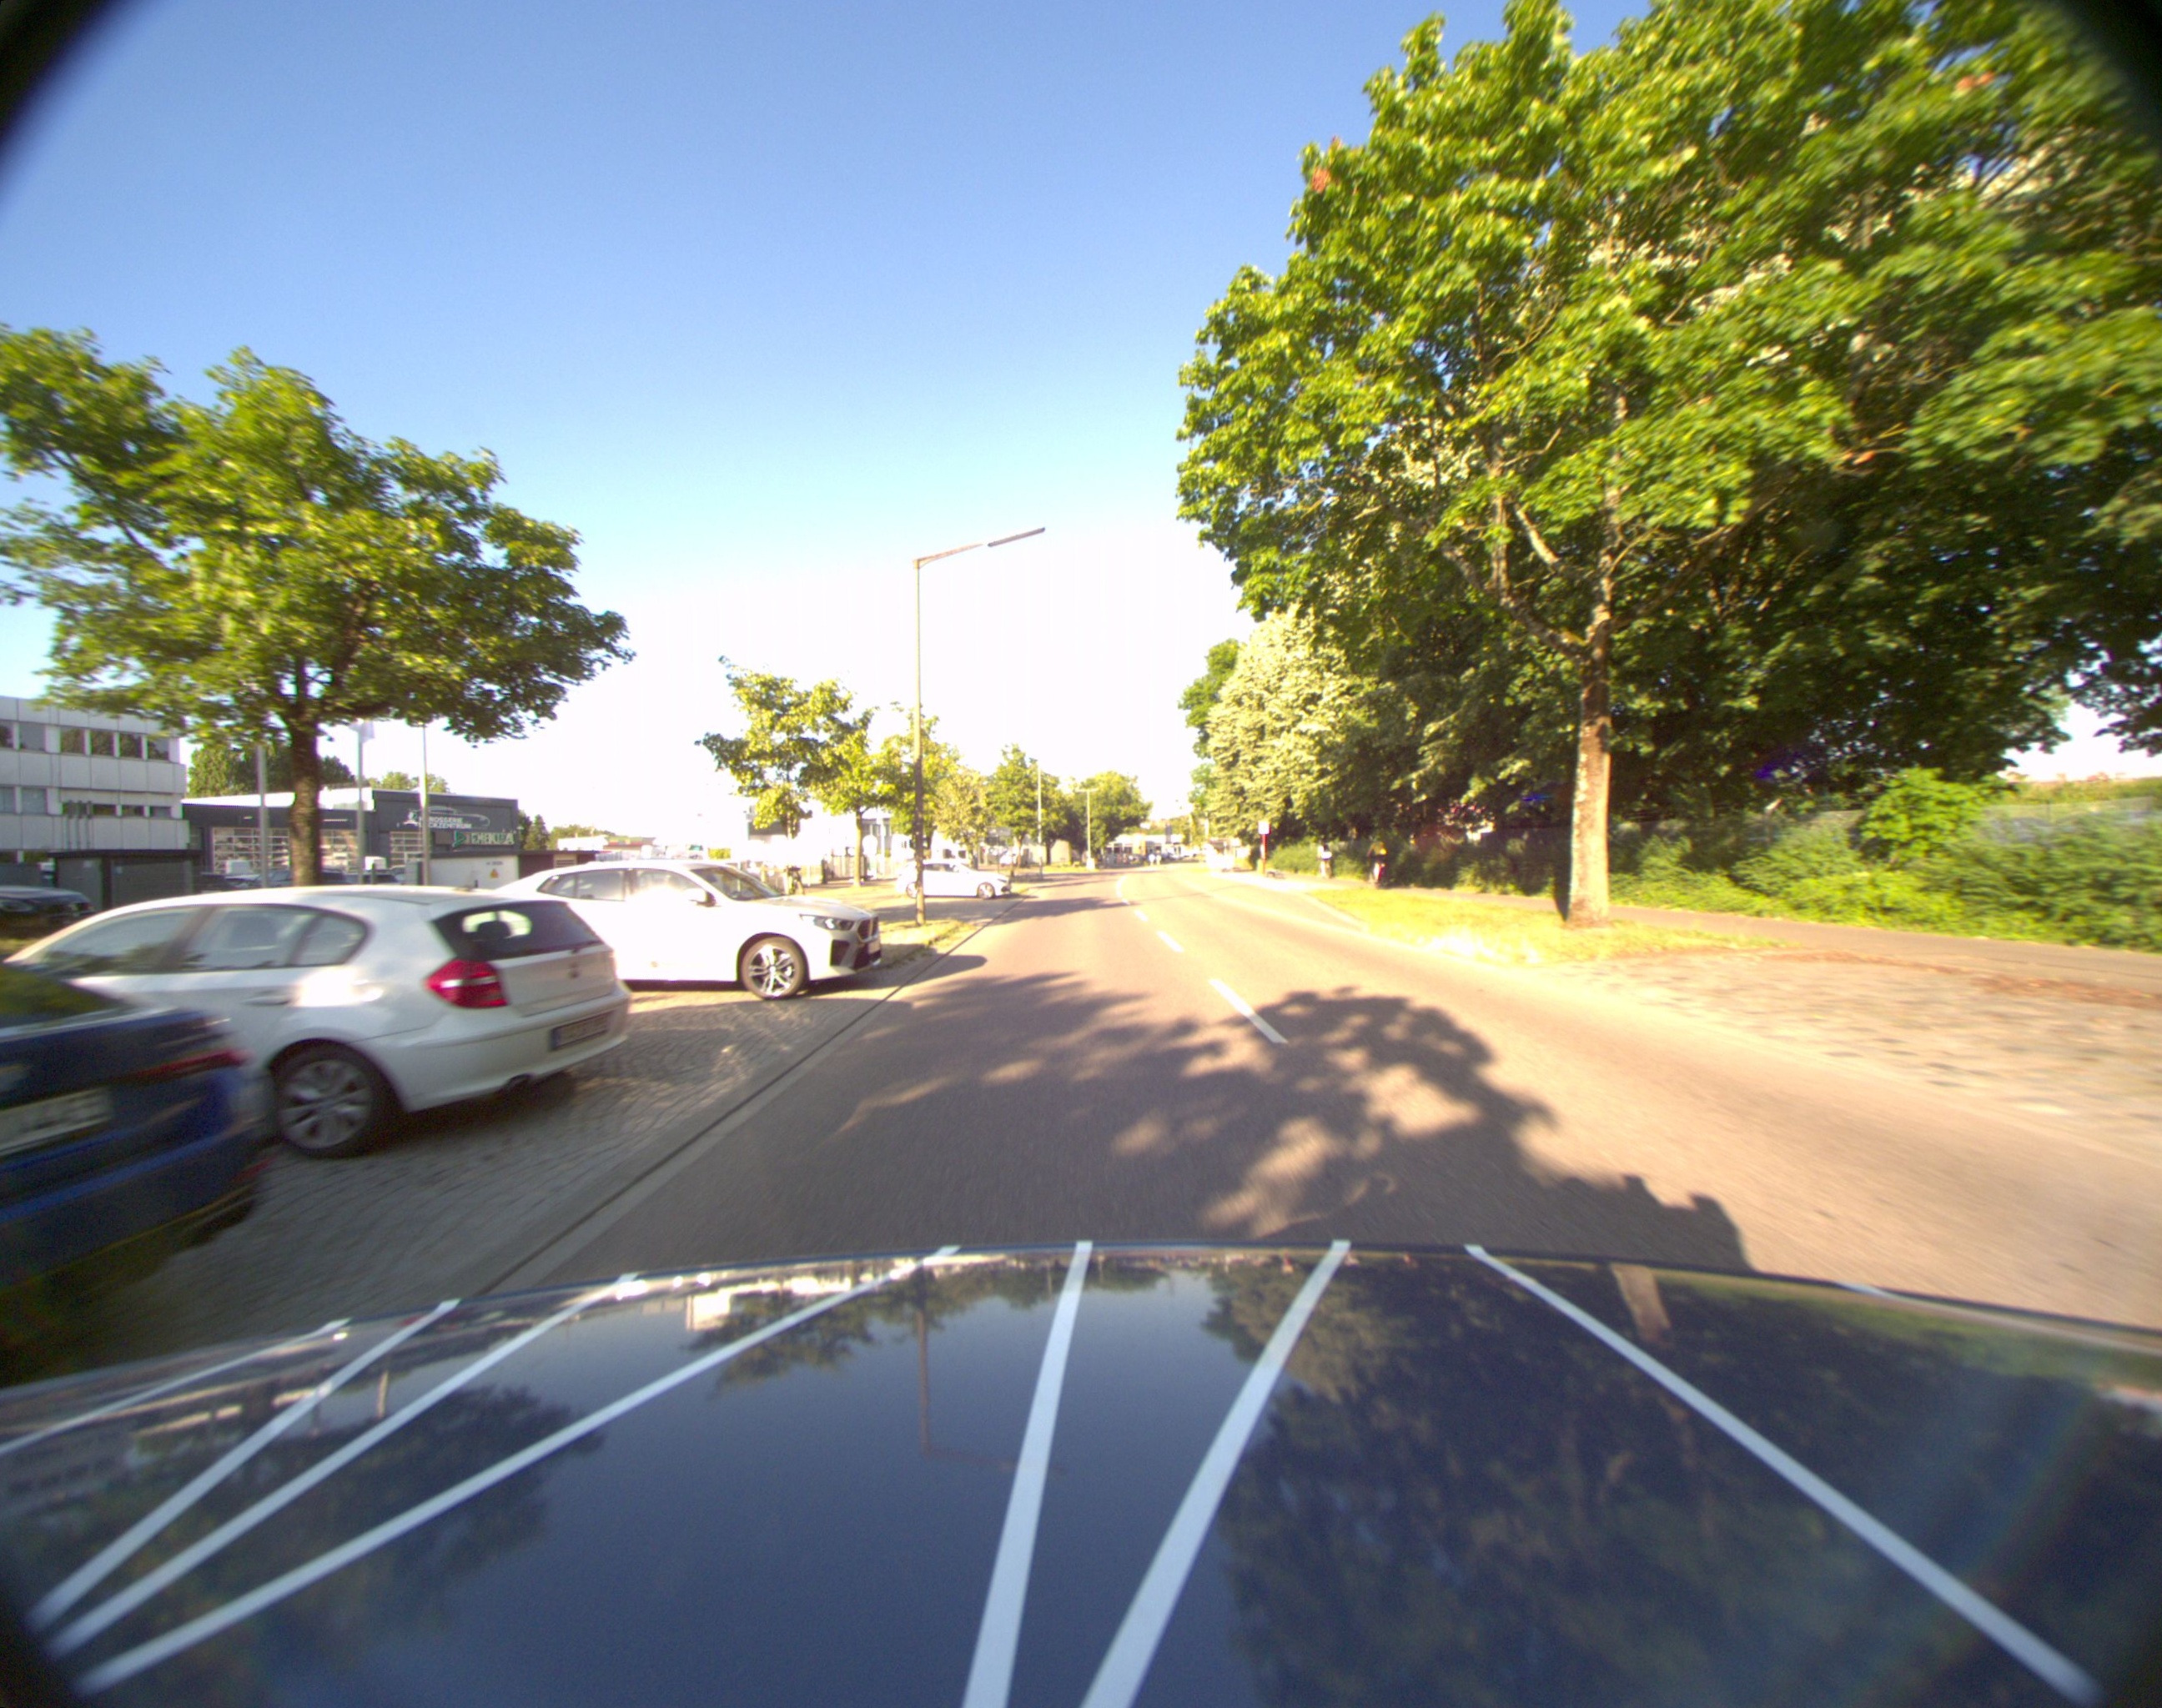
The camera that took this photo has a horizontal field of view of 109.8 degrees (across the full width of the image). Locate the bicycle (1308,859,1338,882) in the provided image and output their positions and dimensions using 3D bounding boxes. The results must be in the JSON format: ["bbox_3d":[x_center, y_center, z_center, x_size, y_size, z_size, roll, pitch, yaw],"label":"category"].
[{"bbox_3d":[11.809,0.787,37.168,0.767,1.033,2.217,-1,0,1],"label":"bicycle"}]

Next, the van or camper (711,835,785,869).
[{"bbox_3d":[-34.397,-0.157,78.413,8.117,3.309,2.419,-1,1,28],"label":"van or camper"}]

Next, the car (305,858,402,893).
[{"bbox_3d":[-38.779,1.132,40.513,3.992,1.731,2.002,-1,0,17],"label":"car"}]

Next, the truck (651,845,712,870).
[{"bbox_3d":[-54.081,0.397,103.072,1.994,3.331,7.128,0,0,33],"label":"truck"}]

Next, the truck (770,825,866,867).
[{"bbox_3d":[-24.759,-0.679,71.158,10.090,3.623,3.302,-1,0,36],"label":"truck"}]

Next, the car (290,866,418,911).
[{"bbox_3d":[-28.631,1.338,29.948,3.991,1.570,2.002,-1,3,20],"label":"car"}]

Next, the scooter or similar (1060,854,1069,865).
[{"bbox_3d":[-1.890,0.599,85.959,0.547,1.189,1.483,0,0,15],"label":"scooter or similar"}]

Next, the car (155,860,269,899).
[{"bbox_3d":[-40.610,1.174,35.531,3.992,1.731,2.002,-1,0,17],"label":"car"}]

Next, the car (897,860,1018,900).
[{"bbox_3d":[-4.668,0.953,29.190,4.207,1.435,2.089,0,0,4],"label":"car"}]

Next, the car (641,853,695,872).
[{"bbox_3d":[-47.089,0.947,86.760,1.995,2.001,5.061,-4,-1,31],"label":"car"}]

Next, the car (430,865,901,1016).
[{"bbox_3d":[-4.727,0.947,9.208,4.602,1.575,2.000,0,0,0],"label":"car"}]

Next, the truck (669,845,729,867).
[{"bbox_3d":[-51.185,0.266,102.070,1.994,2.889,7.128,0,0,33],"label":"truck"}]

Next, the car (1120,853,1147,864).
[{"bbox_3d":[9.988,0.927,144.968,4.833,2.002,2.305,-1,0,41],"label":"car"}]

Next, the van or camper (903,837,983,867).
[{"bbox_3d":[-13.971,-0.199,76.597,7.989,2.883,2.948,-1,0,32],"label":"van or camper"}]

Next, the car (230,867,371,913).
[{"bbox_3d":[-28.240,1.311,27.511,3.991,1.568,2.004,-1,-4,20],"label":"car"}]

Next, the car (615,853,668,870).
[{"bbox_3d":[-52.090,0.859,90.188,1.994,2.002,5.061,0,0,31],"label":"car"}]

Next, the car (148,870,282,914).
[{"bbox_3d":[-33.237,1.472,29.199,3.991,1.568,2.004,-1,-4,20],"label":"car"}]

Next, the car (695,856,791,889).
[{"bbox_3d":[-16.616,0.895,37.369,3.991,1.569,2.003,-1,0,20],"label":"car"}]

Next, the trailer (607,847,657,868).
[{"bbox_3d":[-54.703,0.414,92.651,1.994,2.422,4.868,0,0,33],"label":"trailer"}]

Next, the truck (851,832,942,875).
[{"bbox_3d":[-16.059,-0.038,65.755,8.230,3.501,3.122,-1,0,37],"label":"truck"}]

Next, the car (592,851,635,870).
[{"bbox_3d":[-57.196,0.740,92.979,2.083,2.264,4.008,0,0,33],"label":"car"}]

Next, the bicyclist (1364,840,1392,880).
[{"bbox_3d":[11.488,0.241,29.411,0.732,1.521,0.951,-1,1,1],"label":"bicyclist"}]

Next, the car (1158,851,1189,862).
[{"bbox_3d":[17.703,0.472,145.445,5.275,2.002,2.410,-1,0,41],"label":"car"}]

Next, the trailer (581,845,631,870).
[{"bbox_3d":[-59.510,0.423,95.260,1.994,3.051,4.868,0,0,33],"label":"trailer"}]

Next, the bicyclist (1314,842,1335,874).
[{"bbox_3d":[11.743,0.172,36.685,0.732,1.521,0.951,-1,1,1],"label":"bicyclist"}]

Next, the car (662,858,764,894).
[{"bbox_3d":[-16.894,0.994,34.927,3.991,1.569,2.003,-1,0,20],"label":"car"}]

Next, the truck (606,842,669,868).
[{"bbox_3d":[-62.725,0.157,107.577,2.669,3.554,7.128,0,0,33],"label":"truck"}]

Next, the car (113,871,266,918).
[{"bbox_3d":[-29.473,1.305,25.143,3.991,1.438,2.004,-1,-2,20],"label":"car"}]

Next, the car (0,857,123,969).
[{"bbox_3d":[-18.607,0.871,11.585,4.609,1.657,1.997,0,0,-18],"label":"car"}]

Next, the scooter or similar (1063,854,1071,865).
[{"bbox_3d":[-1.591,0.627,87.467,0.547,1.328,1.483,-1,0,15],"label":"scooter or similar"}]

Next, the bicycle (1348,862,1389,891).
[{"bbox_3d":[11.083,0.861,29.340,0.767,1.033,2.217,-1,0,1],"label":"bicycle"}]

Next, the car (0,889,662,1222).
[{"bbox_3d":[-5.312,1.010,4.653,4.387,1.471,2.000,0,0,1],"label":"car"}]

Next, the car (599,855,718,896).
[{"bbox_3d":[-16.929,0.843,30.461,3.991,1.569,2.003,-1,0,20],"label":"car"}]

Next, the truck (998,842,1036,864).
[{"bbox_3d":[-7.957,-0.115,95.002,2.541,2.704,5.980,-1,0,18],"label":"truck"}]

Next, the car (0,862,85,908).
[{"bbox_3d":[-42.365,1.208,30.244,3.992,1.731,2.002,-1,0,17],"label":"car"}]

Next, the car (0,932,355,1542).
[{"bbox_3d":[-5.062,1.012,1.880,4.636,1.448,2.000,0,0,1],"label":"car"}]

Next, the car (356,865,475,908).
[{"bbox_3d":[-28.019,1.339,32.005,3.991,1.570,2.002,-1,3,20],"label":"car"}]
